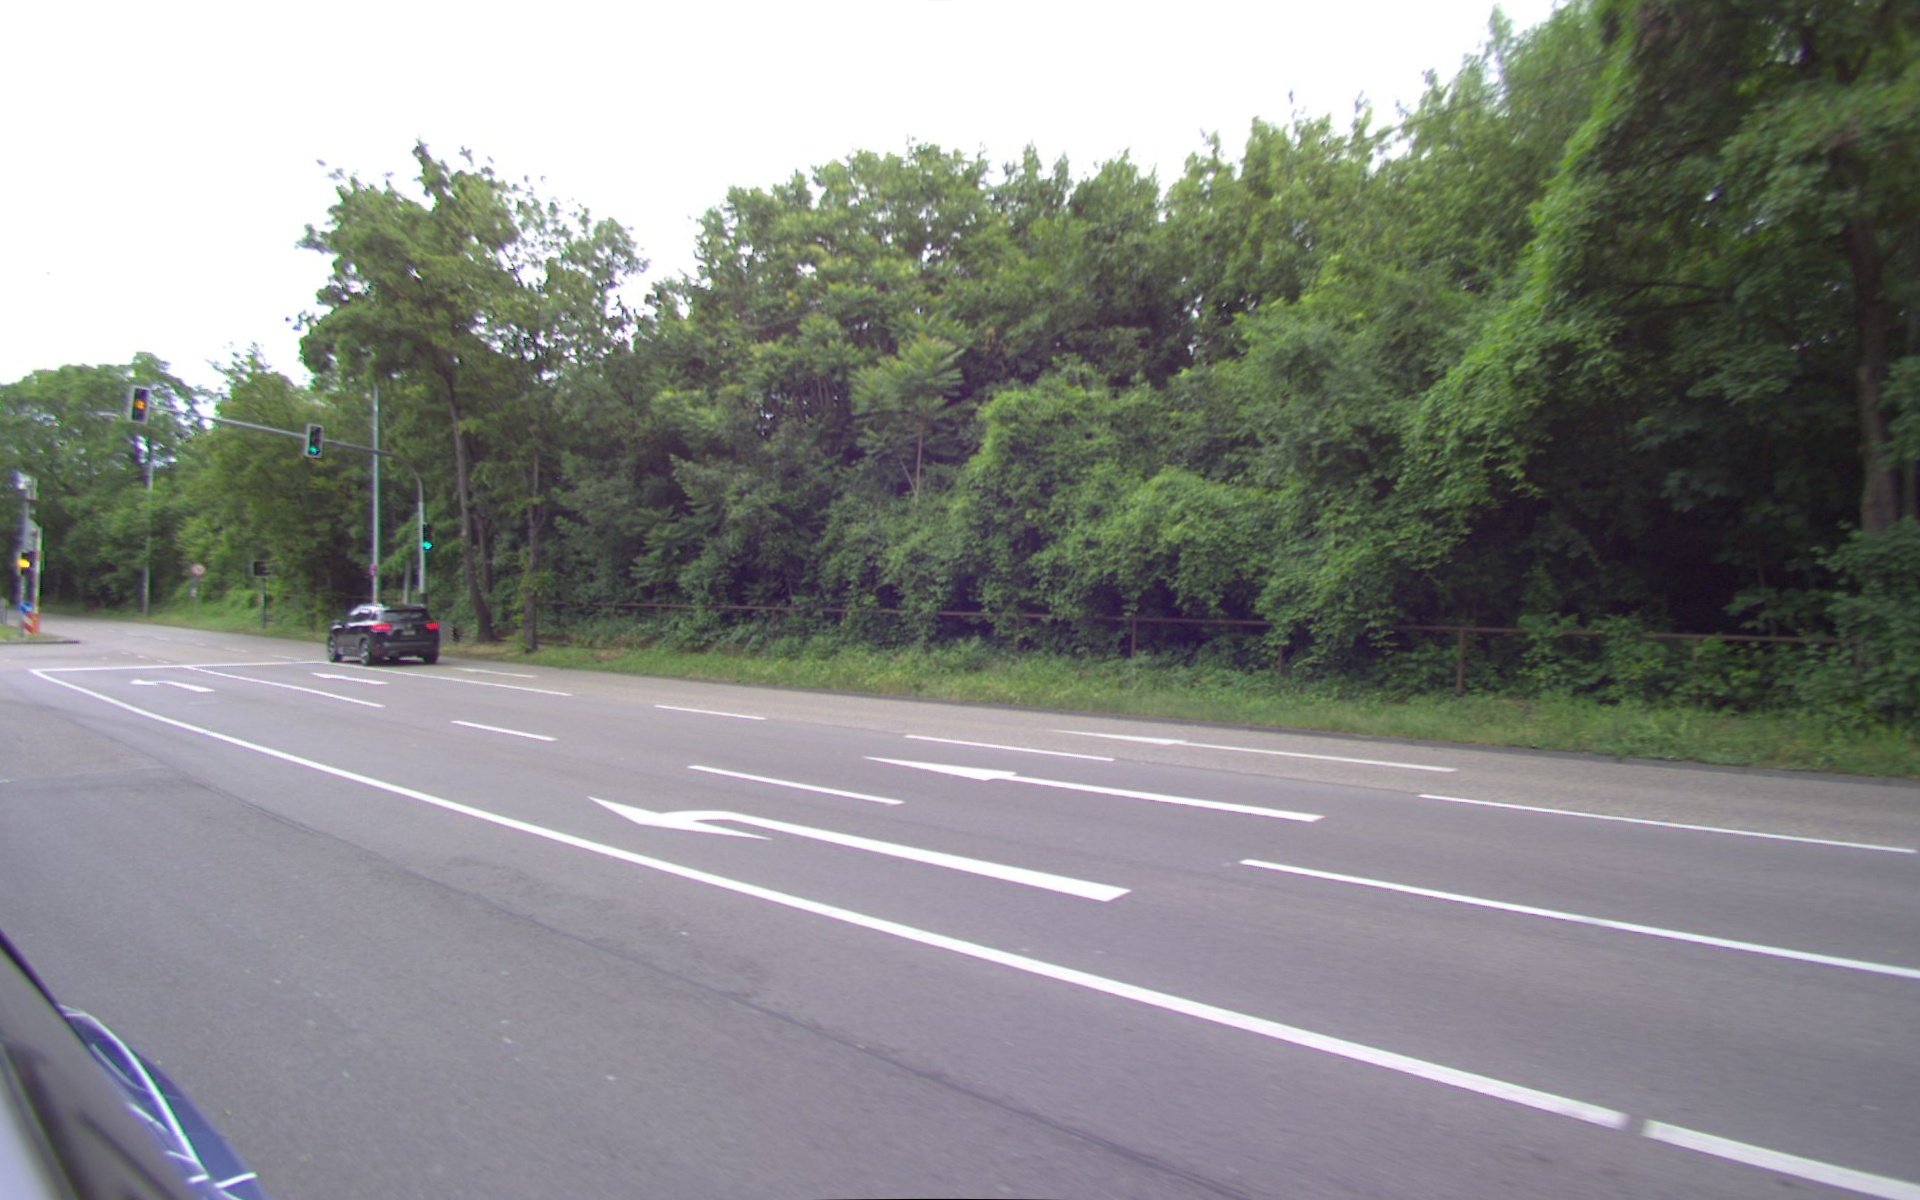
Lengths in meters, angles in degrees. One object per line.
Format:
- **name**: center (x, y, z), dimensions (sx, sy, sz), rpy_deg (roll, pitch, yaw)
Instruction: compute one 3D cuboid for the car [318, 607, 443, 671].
- **car**: center (-16.309, 1.033, 28.417), dimensions (4.220, 1.666, 1.803), rpy_deg (-1, -1, 42)
